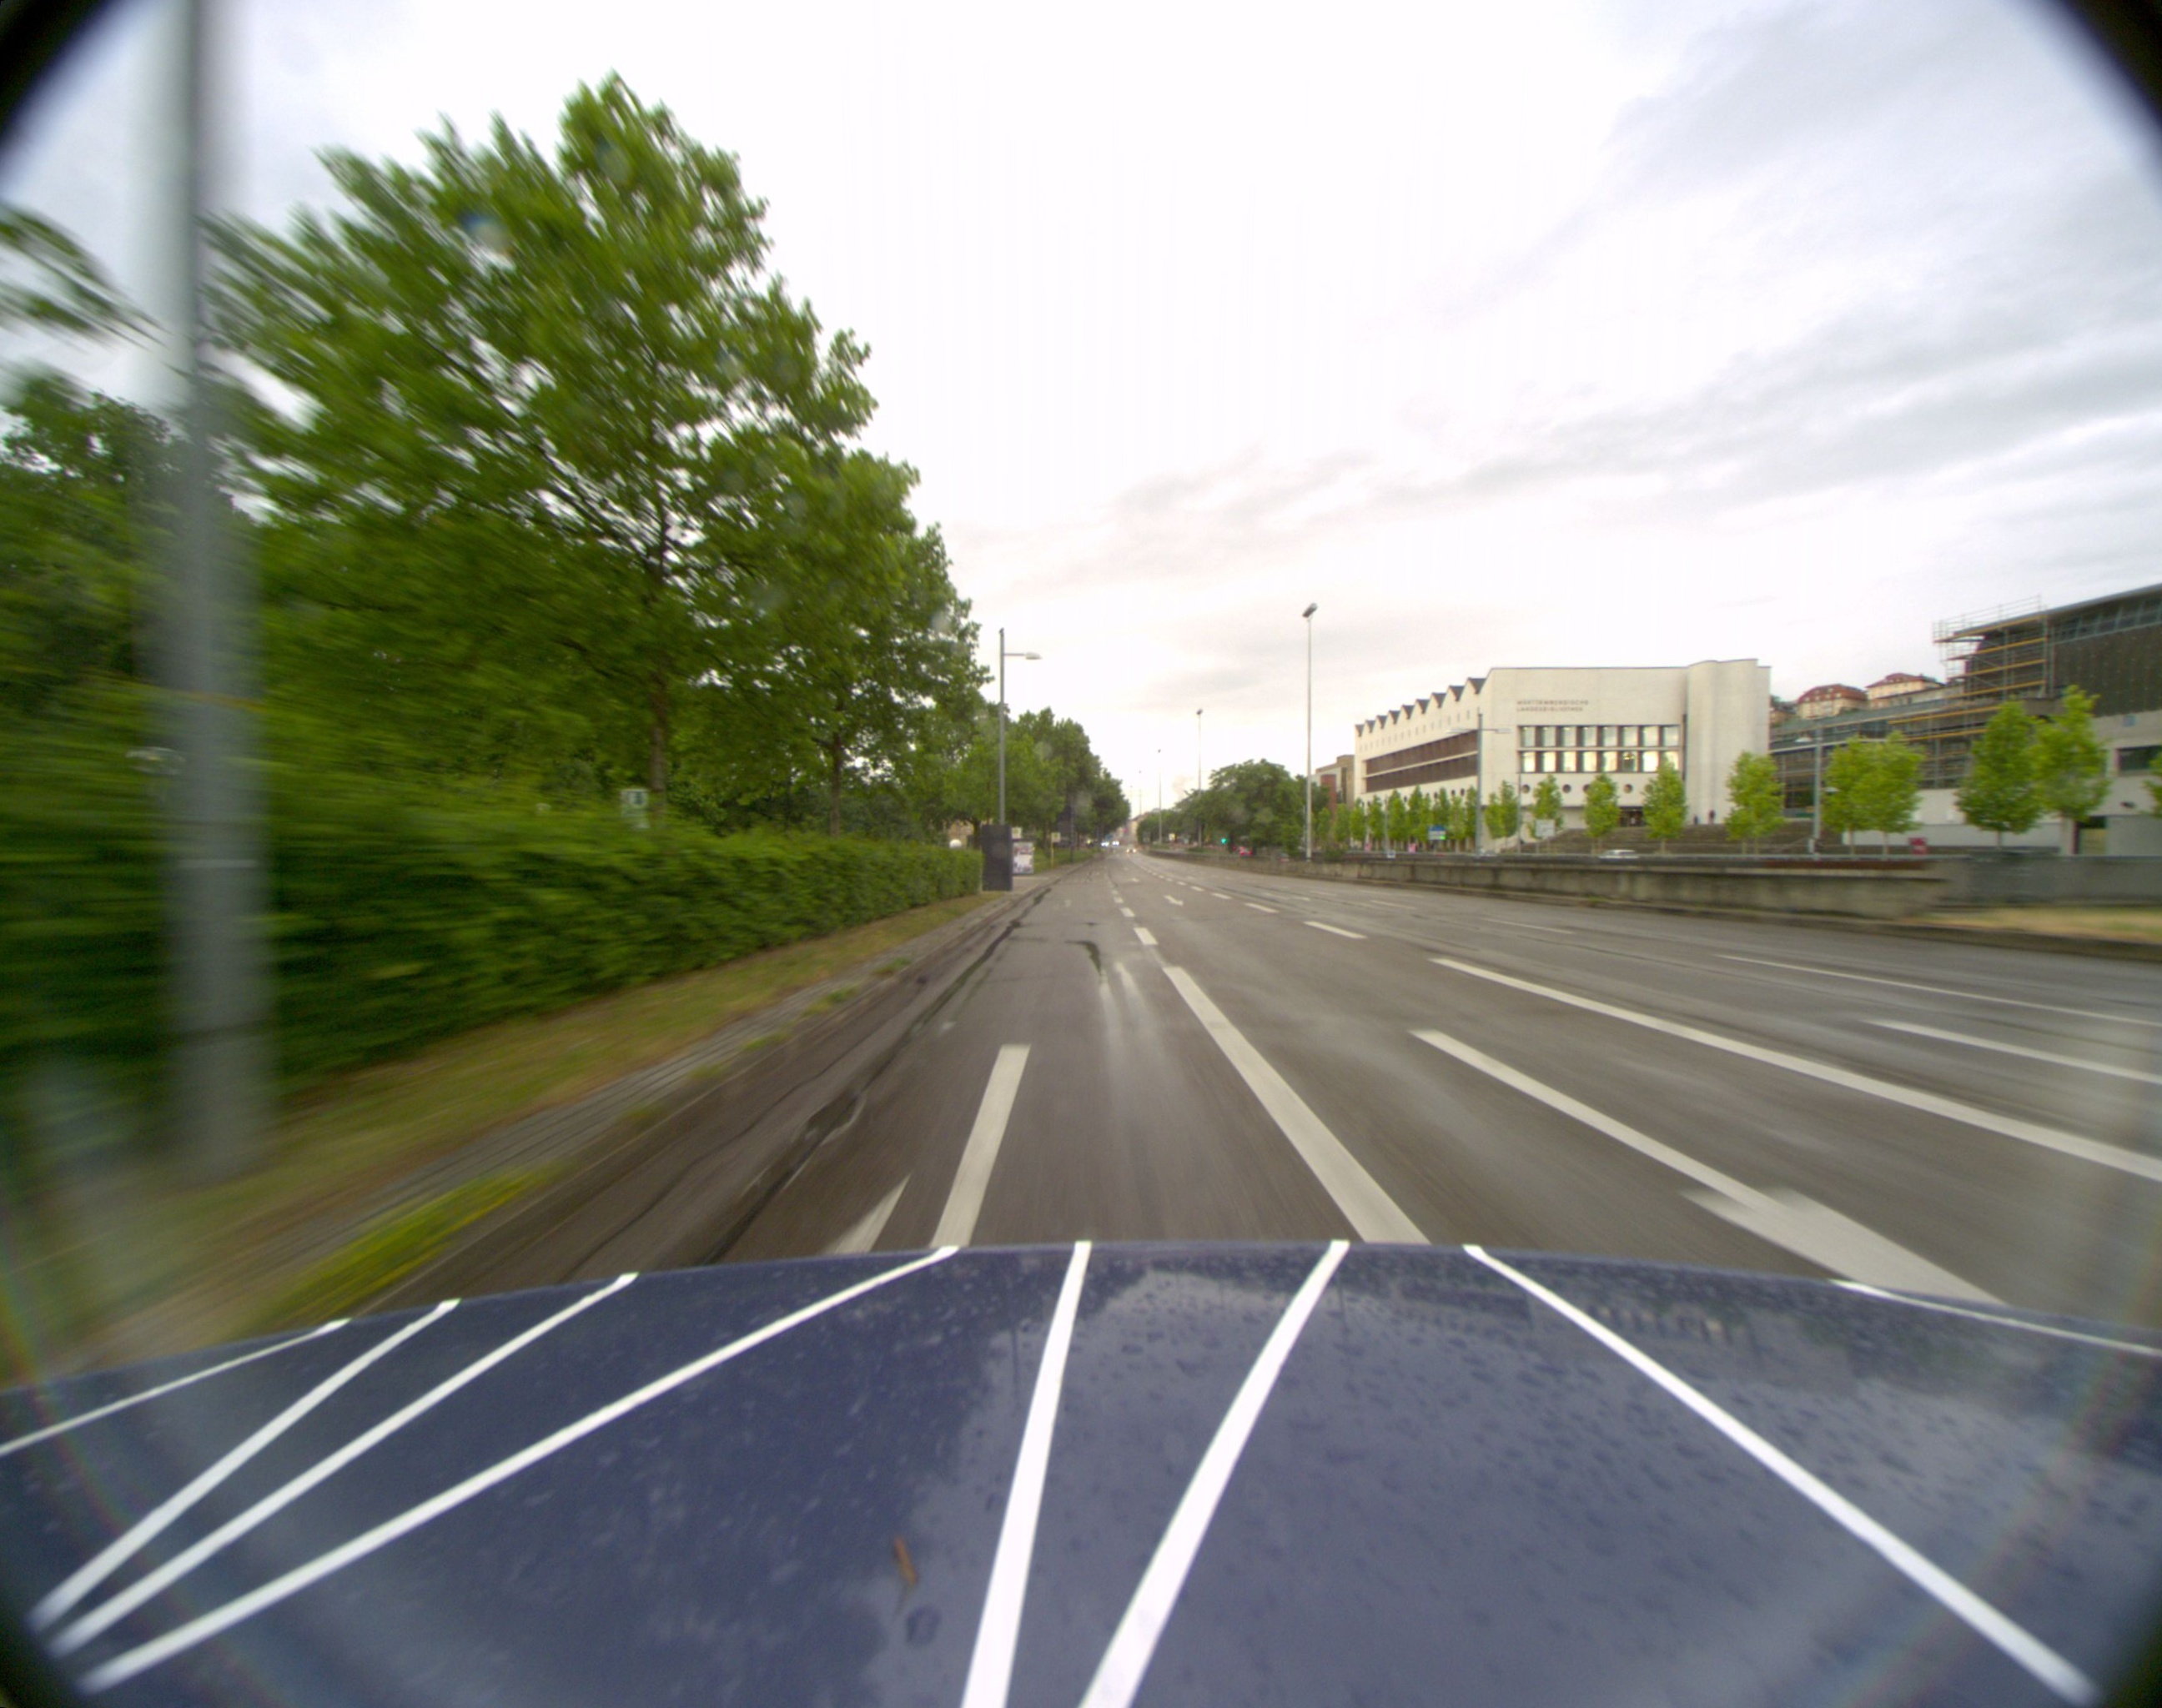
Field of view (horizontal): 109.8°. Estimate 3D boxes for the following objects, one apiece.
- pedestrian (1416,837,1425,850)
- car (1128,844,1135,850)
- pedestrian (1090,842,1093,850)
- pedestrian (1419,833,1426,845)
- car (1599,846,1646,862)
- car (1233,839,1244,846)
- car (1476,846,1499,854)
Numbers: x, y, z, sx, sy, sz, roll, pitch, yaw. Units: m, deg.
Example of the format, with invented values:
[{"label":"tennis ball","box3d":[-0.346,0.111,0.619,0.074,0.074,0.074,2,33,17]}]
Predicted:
[{"label":"pedestrian","box3d":[48.419,-1.457,108.382,1.087,1.856,0.830,-1,2,14]},{"label":"car","box3d":[11.581,-1.550,172.530,1.517,1.138,2.761,-1,2,5]},{"label":"pedestrian","box3d":[2.490,-1.970,183.084,0.594,1.764,0.587,-2,2,3]},{"label":"pedestrian","box3d":[52.988,-2.355,117.823,0.738,1.848,0.703,0,3,44]},{"label":"car","box3d":[40.904,-0.020,57.464,1.444,1.108,3.020,-2,2,0]},{"label":"car","box3d":[37.928,-2.812,183.165,1.698,1.547,3.474,-2,2,-2]},{"label":"car","box3d":[40.079,-0.369,75.007,0.821,0.741,2.552,-2,2,-3]}]
